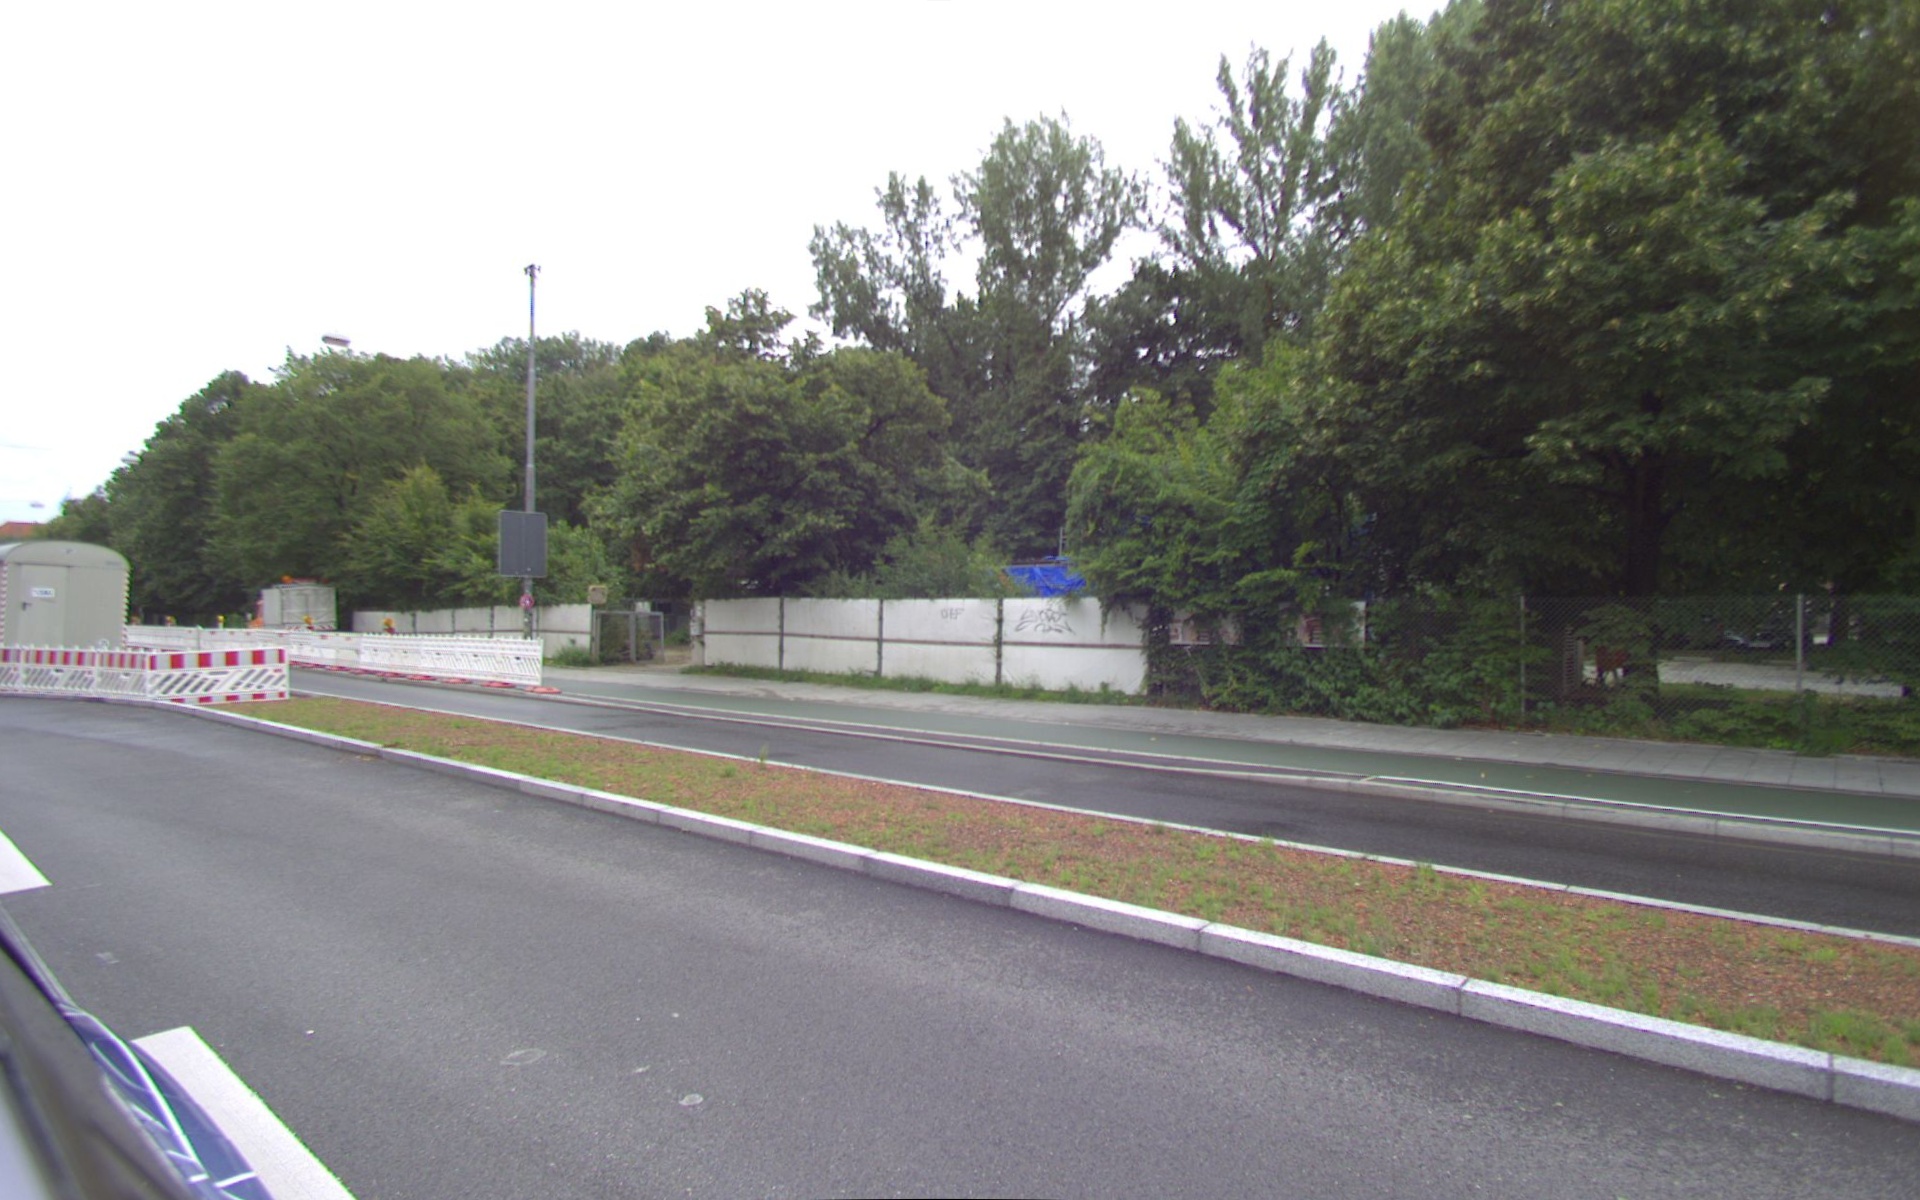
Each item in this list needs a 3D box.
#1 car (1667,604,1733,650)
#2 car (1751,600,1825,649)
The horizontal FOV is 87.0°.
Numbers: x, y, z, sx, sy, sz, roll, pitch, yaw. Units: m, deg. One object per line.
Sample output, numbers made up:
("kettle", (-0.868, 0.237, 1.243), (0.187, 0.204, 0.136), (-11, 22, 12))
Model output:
("car", (29.530, 1.050, 40.359), (1.997, 1.732, 3.949), (-1, -2, 38))
("car", (31.101, 0.920, 38.110), (1.997, 1.732, 3.949), (-1, -2, 38))
